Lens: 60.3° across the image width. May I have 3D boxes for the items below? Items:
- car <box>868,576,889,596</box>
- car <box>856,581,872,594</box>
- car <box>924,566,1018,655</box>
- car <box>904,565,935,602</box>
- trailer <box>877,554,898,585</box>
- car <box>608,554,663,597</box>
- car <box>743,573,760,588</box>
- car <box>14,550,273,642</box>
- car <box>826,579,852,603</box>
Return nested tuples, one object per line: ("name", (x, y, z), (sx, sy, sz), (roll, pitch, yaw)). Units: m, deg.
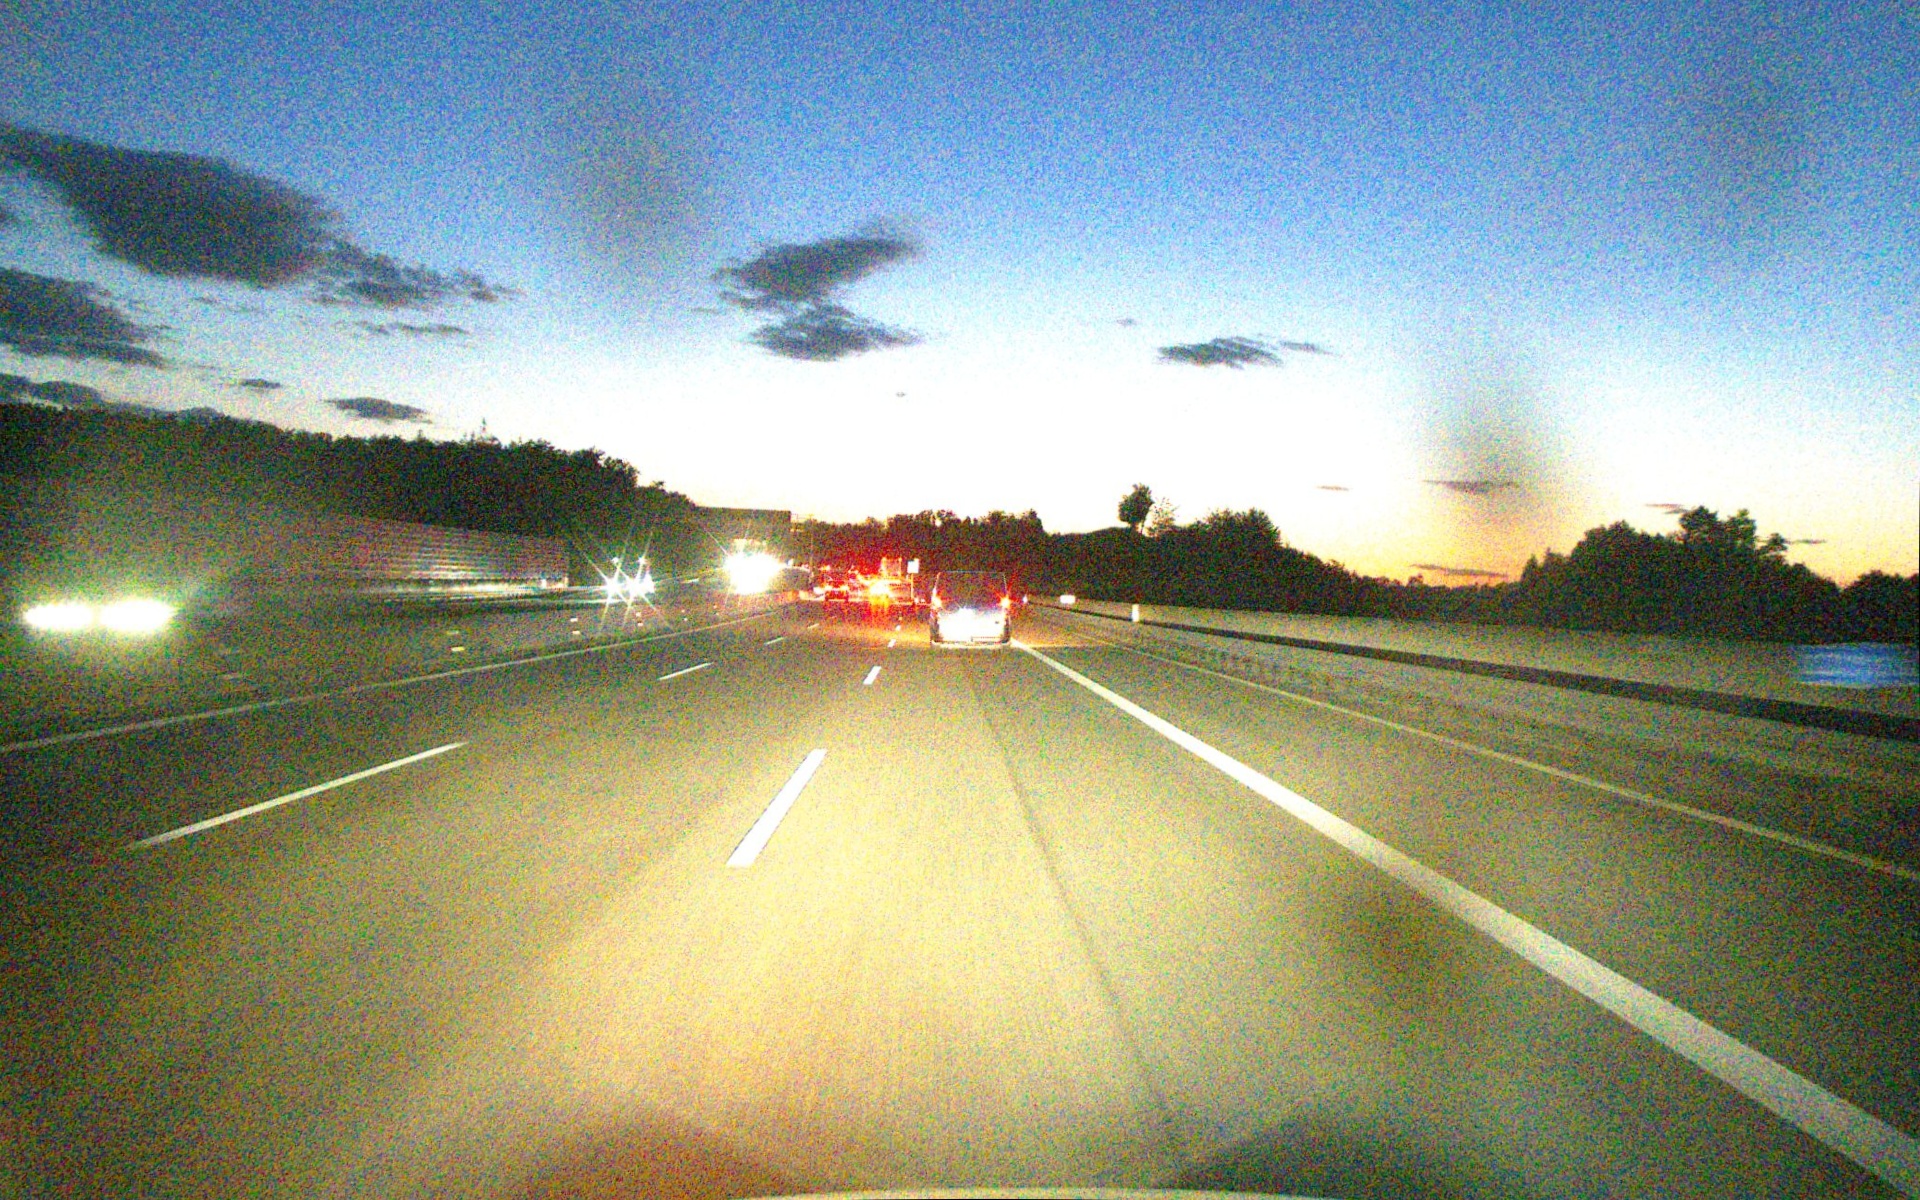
("car", (-8.077, -1.361, 163.984), (1.953, 1.825, 3.998), (1, -1, -2))
("car", (-13.372, -1.748, 230.862), (1.953, 1.825, 3.999), (1, -1, 0))
("car", (0.196, 0.203, 41.360), (2.073, 2.035, 5.662), (1, 1, -2))
("car", (-3.061, -1.269, 124.438), (1.992, 2.693, 5.720), (1, 1, -4))
("trailer", (-11.386, -4.750, 258.130), (2.773, 4.331, 17.034), (1, -1, -4))
("car", (-24.876, -1.917, 127.207), (2.598, 3.139, 8.214), (1, 1, -1))
("car", (-25.694, -2.348, 203.947), (1.786, 1.723, 4.670), (1, -1, -3))
("car", (-15.715, -0.064, 32.238), (2.507, 1.583, 5.108), (1, 0, -1))
("car", (-9.870, -0.712, 134.694), (1.954, 1.847, 3.998), (1, -1, -3))
